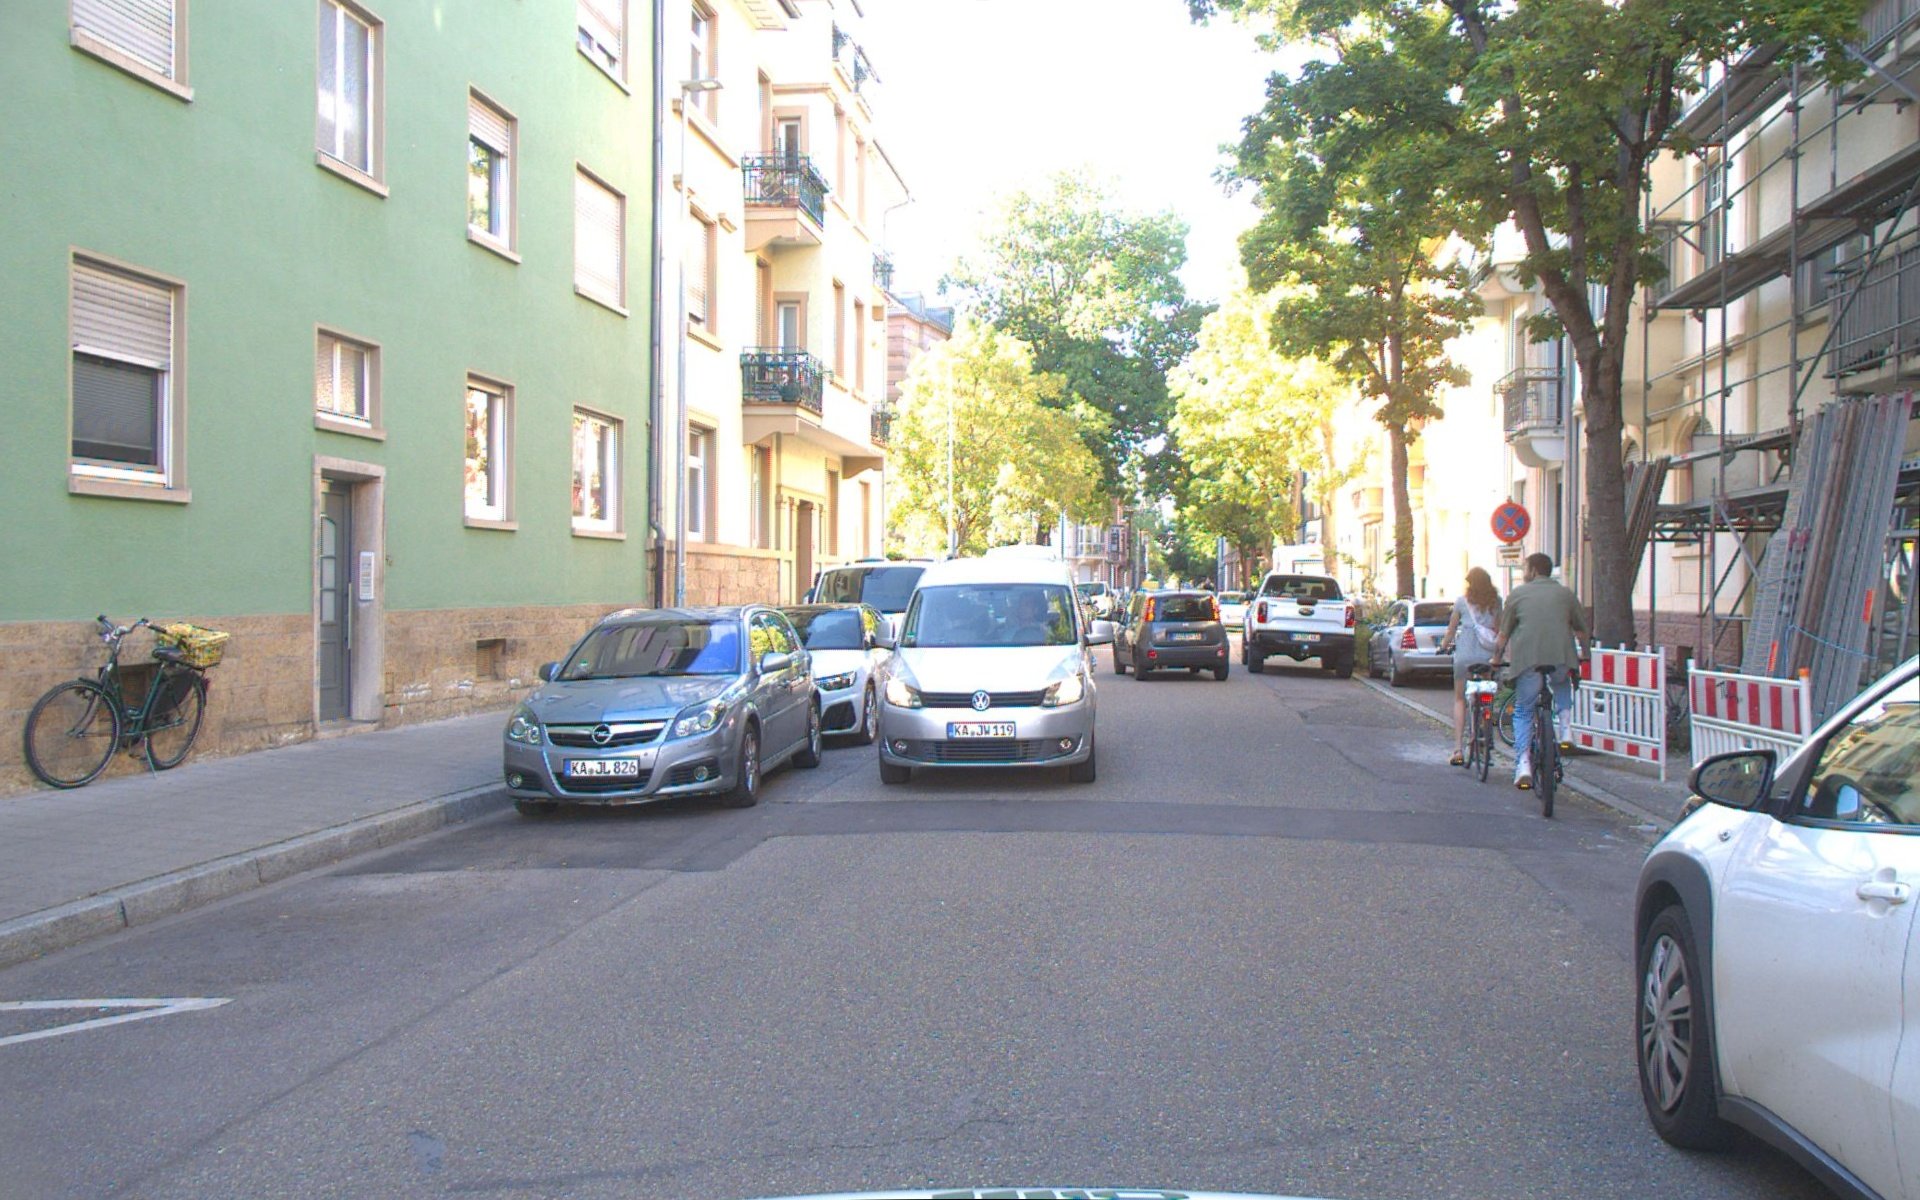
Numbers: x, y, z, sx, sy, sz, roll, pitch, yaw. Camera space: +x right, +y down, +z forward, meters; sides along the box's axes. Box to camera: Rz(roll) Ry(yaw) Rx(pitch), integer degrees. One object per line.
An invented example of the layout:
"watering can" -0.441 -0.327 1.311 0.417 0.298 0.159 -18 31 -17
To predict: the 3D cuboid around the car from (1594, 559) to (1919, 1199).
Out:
"car" 2.712 0.724 3.458 1.764 1.562 3.967 1 1 9
